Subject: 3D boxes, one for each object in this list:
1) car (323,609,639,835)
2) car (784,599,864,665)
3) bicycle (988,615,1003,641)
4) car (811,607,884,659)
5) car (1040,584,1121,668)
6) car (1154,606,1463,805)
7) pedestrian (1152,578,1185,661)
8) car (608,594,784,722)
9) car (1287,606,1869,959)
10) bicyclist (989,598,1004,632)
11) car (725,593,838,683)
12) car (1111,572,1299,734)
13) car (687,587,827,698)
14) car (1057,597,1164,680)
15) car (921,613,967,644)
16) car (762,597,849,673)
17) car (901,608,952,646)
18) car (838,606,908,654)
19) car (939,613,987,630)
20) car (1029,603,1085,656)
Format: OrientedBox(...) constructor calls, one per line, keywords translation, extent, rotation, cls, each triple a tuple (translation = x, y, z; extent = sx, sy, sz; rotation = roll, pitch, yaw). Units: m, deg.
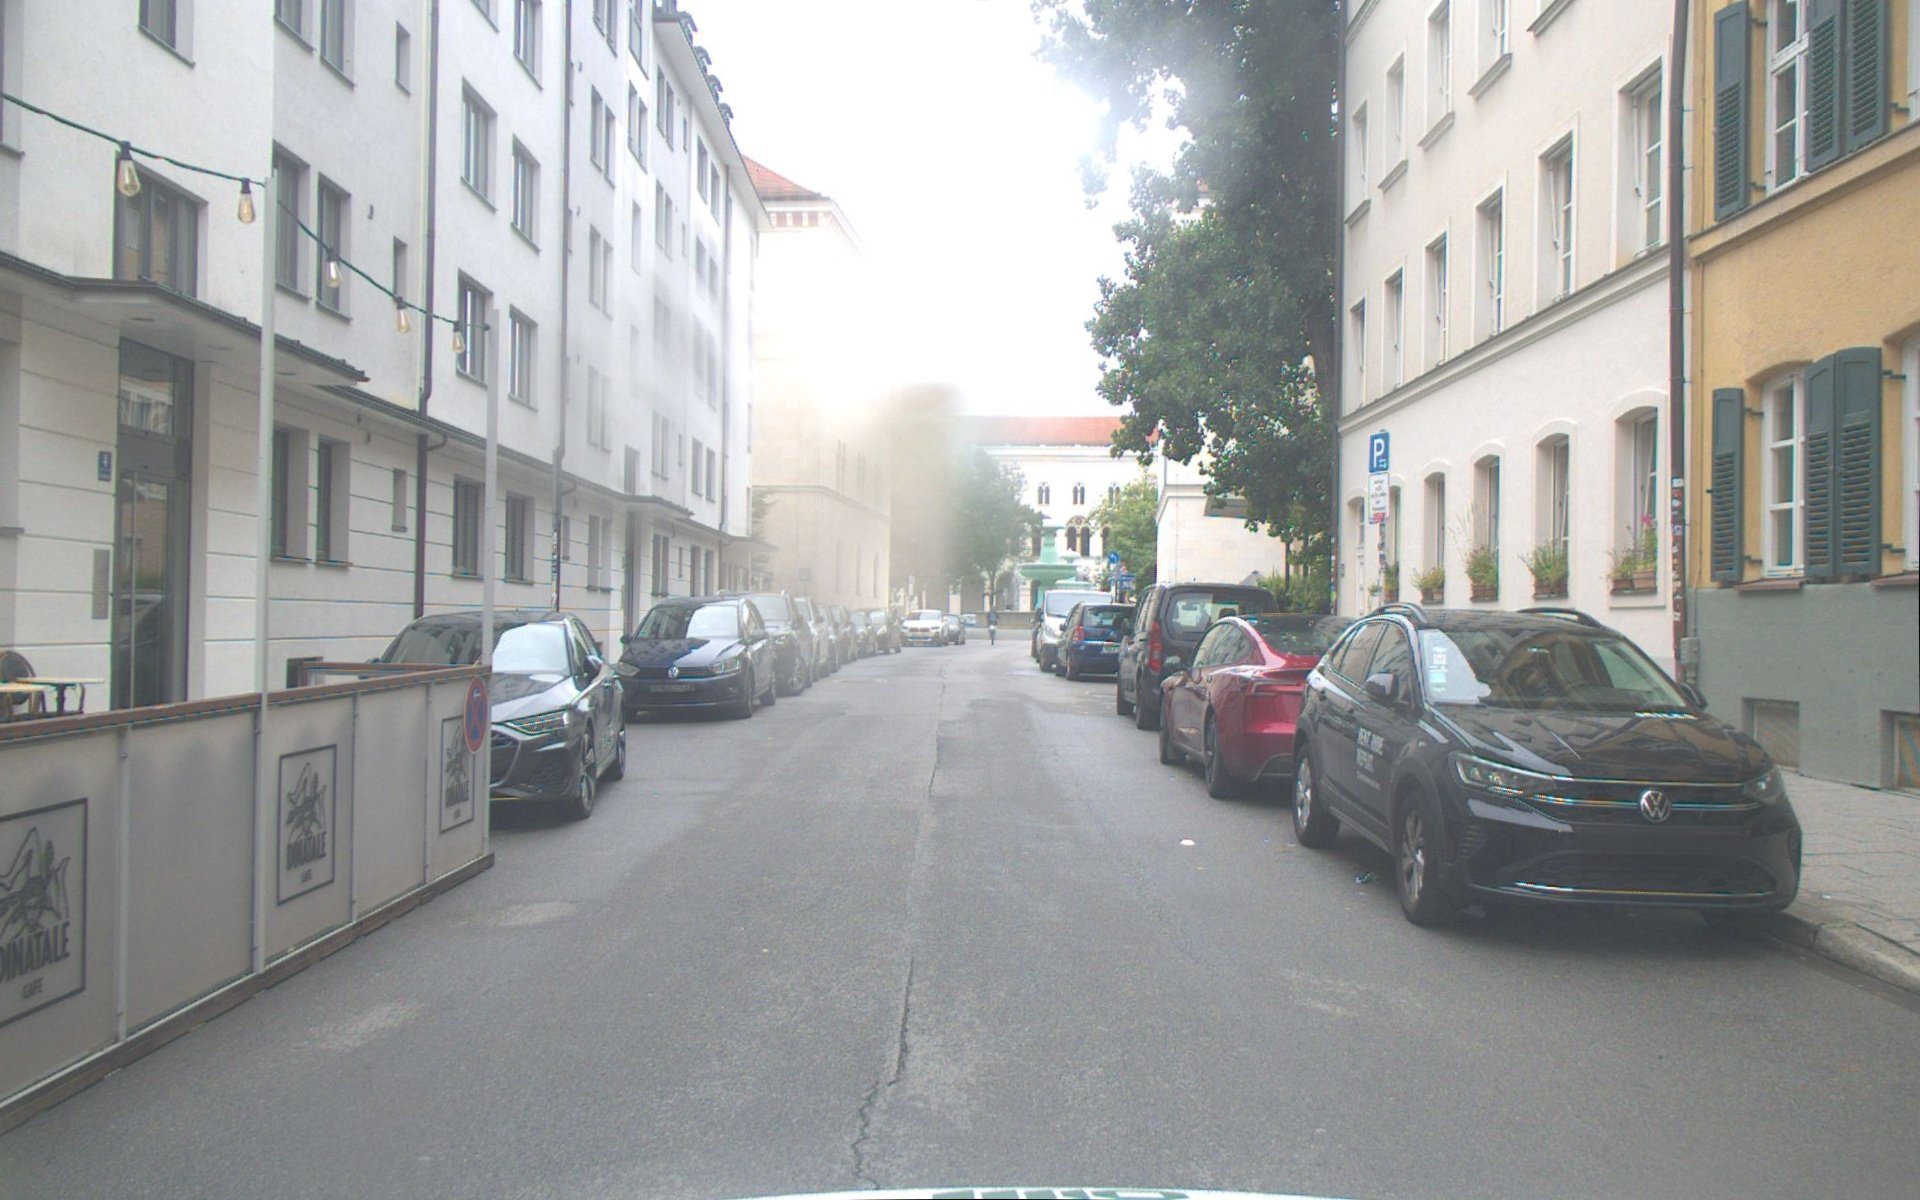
OrientedBox(translation=(-3.441, 0.782, 12.583), extent=(1.607, 1.378, 4.053), rotation=(-1, 0, -6), cls="car")
OrientedBox(translation=(-3.676, 0.833, 45.295), extent=(1.834, 1.687, 4.080), rotation=(-1, 0, 0), cls="car")
OrientedBox(translation=(1.637, 1.289, 76.324), extent=(0.635, 1.218, 1.951), rotation=(0, -1, 2), cls="bicycle")
OrientedBox(translation=(-3.417, 0.978, 50.743), extent=(1.714, 1.479, 4.017), rotation=(-1, 0, 3), cls="car")
OrientedBox(translation=(2.944, 0.624, 41.366), extent=(1.843, 1.958, 4.876), rotation=(1, 0, 2), cls="car")
OrientedBox(translation=(2.834, 0.798, 14.432), extent=(1.678, 1.449, 4.456), rotation=(1, -1, -1), cls="car")
OrientedBox(translation=(5.741, 0.526, 45.552), extent=(0.777, 2.236, 0.813), rotation=(1, 0, 0), cls="pedestrian")
OrientedBox(translation=(-3.491, 0.712, 22.578), extent=(1.737, 1.566, 4.158), rotation=(-1, 0, -1), cls="car")
OrientedBox(translation=(3.044, 0.789, 9.083), extent=(1.710, 1.489, 4.000), rotation=(0, 0, 0), cls="car")
OrientedBox(translation=(1.686, 0.690, 76.549), extent=(0.643, 1.578, 0.888), rotation=(0, -1, 3), cls="bicyclist")
OrientedBox(translation=(-3.565, 0.709, 33.765), extent=(1.834, 1.687, 4.590), rotation=(-1, 0, -1), cls="car")
OrientedBox(translation=(3.065, 0.652, 21.475), extent=(1.809, 1.807, 4.201), rotation=(3, -1, 1), cls="car")
OrientedBox(translation=(-3.374, 0.656, 28.271), extent=(1.834, 1.717, 4.520), rotation=(-1, 0, -1), cls="car")
OrientedBox(translation=(3.154, 0.790, 35.375), extent=(1.771, 1.628, 4.214), rotation=(1, 0, -2), cls="car")
OrientedBox(translation=(-0.712, 1.342, 77.082), extent=(1.662, 1.417, 4.214), rotation=(-1, -1, 6), cls="car")
OrientedBox(translation=(-3.648, 0.783, 39.668), extent=(1.835, 1.687, 4.588), rotation=(-1, 0, -3), cls="car")
OrientedBox(translation=(-1.405, 1.169, 70.724), extent=(1.741, 1.562, 4.213), rotation=(-1, -1, 4), cls="car")
OrientedBox(translation=(-2.874, 0.986, 55.473), extent=(1.713, 1.479, 4.018), rotation=(-1, 0, 6), cls="car")
OrientedBox(translation=(0.303, 1.802, 139.621), extent=(3.903, 1.400, 2.001), rotation=(0, 0, 4), cls="car")
OrientedBox(translation=(3.158, 0.935, 53.898), extent=(1.710, 1.621, 3.957), rotation=(1, -1, 3), cls="car")
